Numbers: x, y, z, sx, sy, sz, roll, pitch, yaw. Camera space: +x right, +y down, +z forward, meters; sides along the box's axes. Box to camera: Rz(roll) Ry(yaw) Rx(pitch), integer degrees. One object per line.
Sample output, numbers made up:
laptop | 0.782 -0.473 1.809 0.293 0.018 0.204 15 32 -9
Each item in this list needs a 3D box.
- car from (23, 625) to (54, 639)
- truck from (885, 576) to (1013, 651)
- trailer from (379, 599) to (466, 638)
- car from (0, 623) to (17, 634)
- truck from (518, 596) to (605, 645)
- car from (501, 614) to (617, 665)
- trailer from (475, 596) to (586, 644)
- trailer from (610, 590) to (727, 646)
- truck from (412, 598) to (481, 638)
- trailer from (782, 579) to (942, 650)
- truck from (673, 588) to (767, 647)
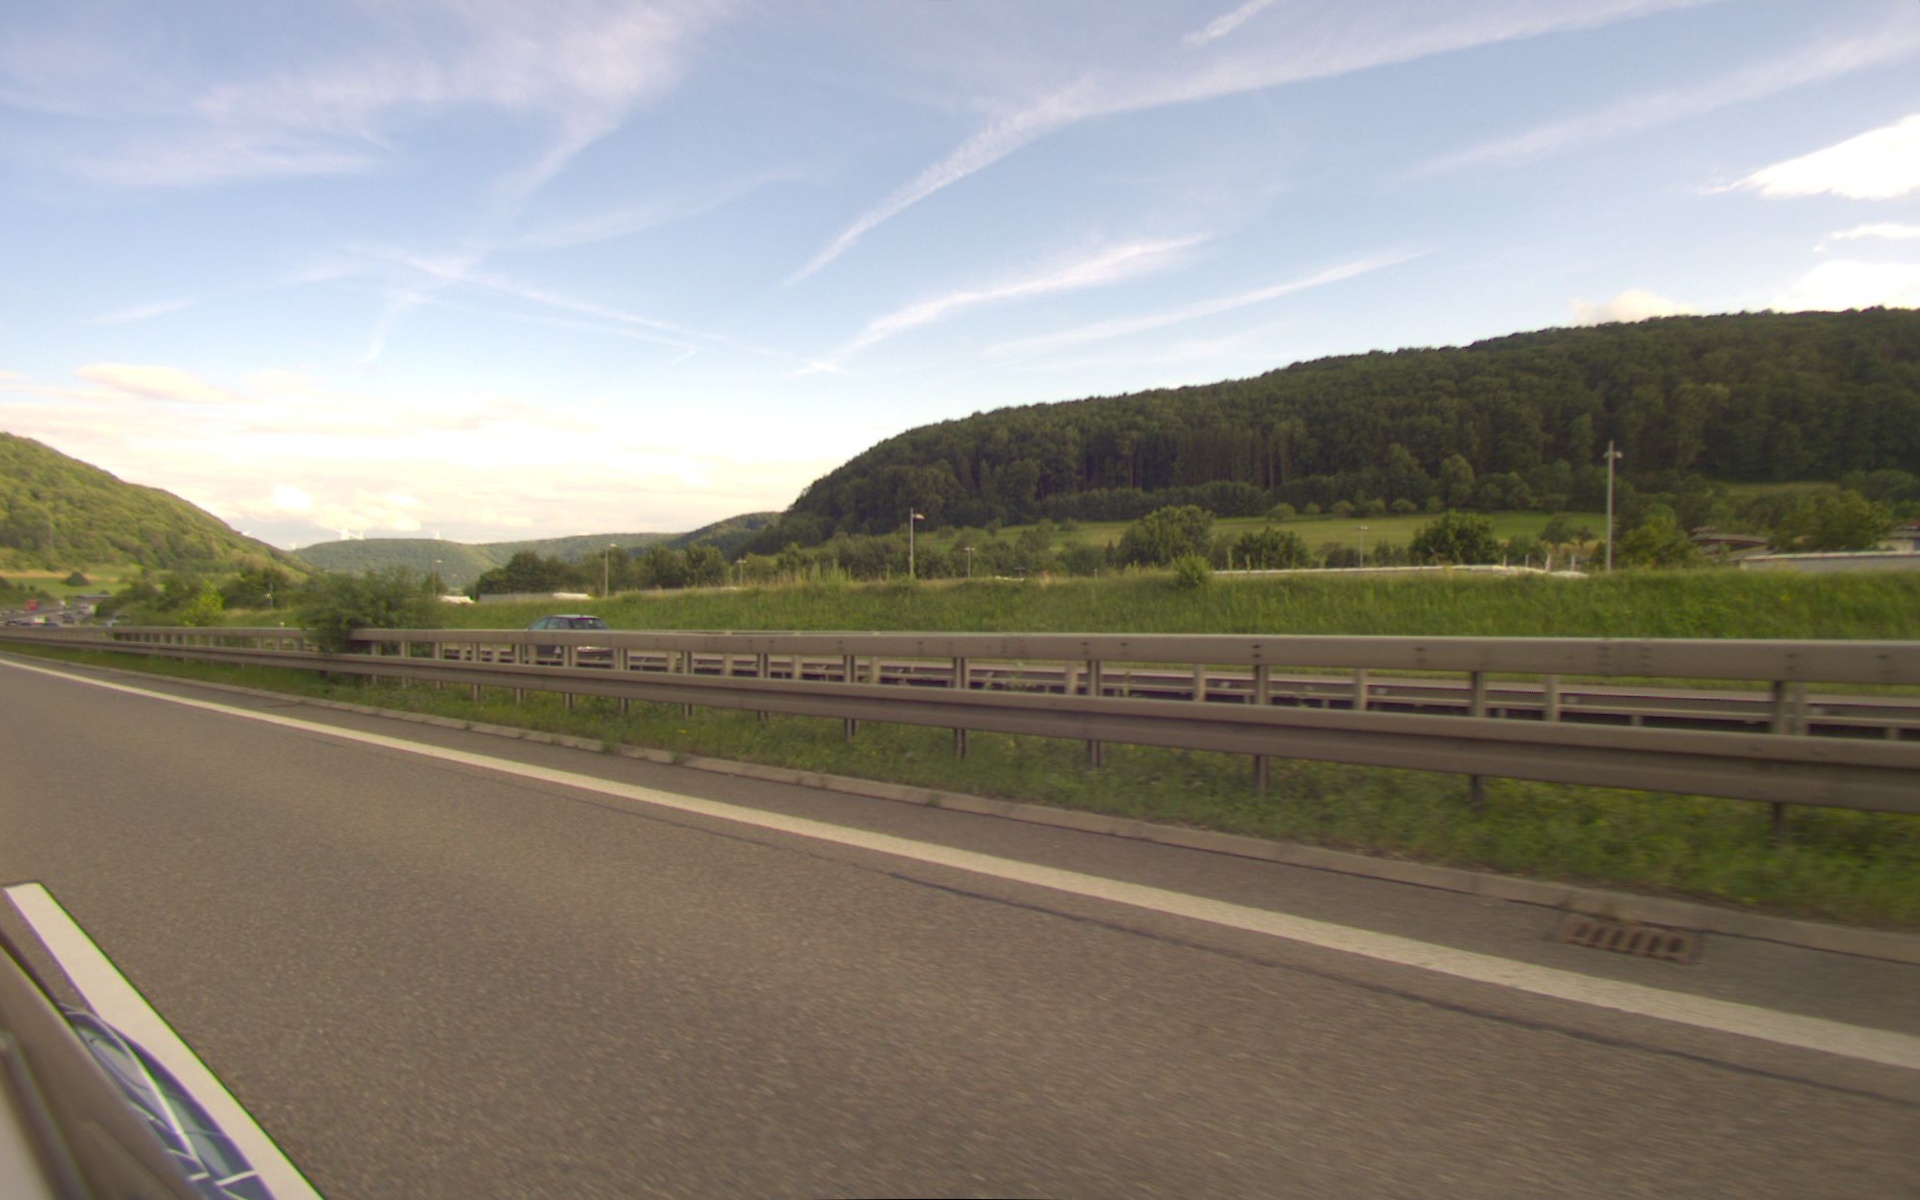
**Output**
car | -97.796 3.398 107.398 3.871 1.487 1.931 -1 -2 41
truck | -0.640 0.779 53.508 6.588 3.719 2.851 -1 -3 41
trailer | -53.480 1.885 100.456 13.667 3.724 2.847 -1 -2 41
car | -158.201 4.735 168.175 4.342 1.626 1.787 0 0 43
truck | -32.173 1.616 81.504 8.489 3.719 2.851 0 -3 41
car | -12.472 1.201 31.394 3.997 1.475 1.636 -1 -3 40
trailer | -36.308 1.643 85.181 13.670 3.724 2.847 0 -3 41
trailer | -20.697 1.303 71.388 10.369 3.724 2.846 -1 -3 42
truck | -49.072 1.770 96.663 8.488 3.719 2.851 -1 -2 41
trailer | -5.831 0.896 58.114 10.369 3.724 2.846 -1 -3 42
truck | -15.974 1.215 67.177 6.590 3.719 2.850 -1 -3 42
